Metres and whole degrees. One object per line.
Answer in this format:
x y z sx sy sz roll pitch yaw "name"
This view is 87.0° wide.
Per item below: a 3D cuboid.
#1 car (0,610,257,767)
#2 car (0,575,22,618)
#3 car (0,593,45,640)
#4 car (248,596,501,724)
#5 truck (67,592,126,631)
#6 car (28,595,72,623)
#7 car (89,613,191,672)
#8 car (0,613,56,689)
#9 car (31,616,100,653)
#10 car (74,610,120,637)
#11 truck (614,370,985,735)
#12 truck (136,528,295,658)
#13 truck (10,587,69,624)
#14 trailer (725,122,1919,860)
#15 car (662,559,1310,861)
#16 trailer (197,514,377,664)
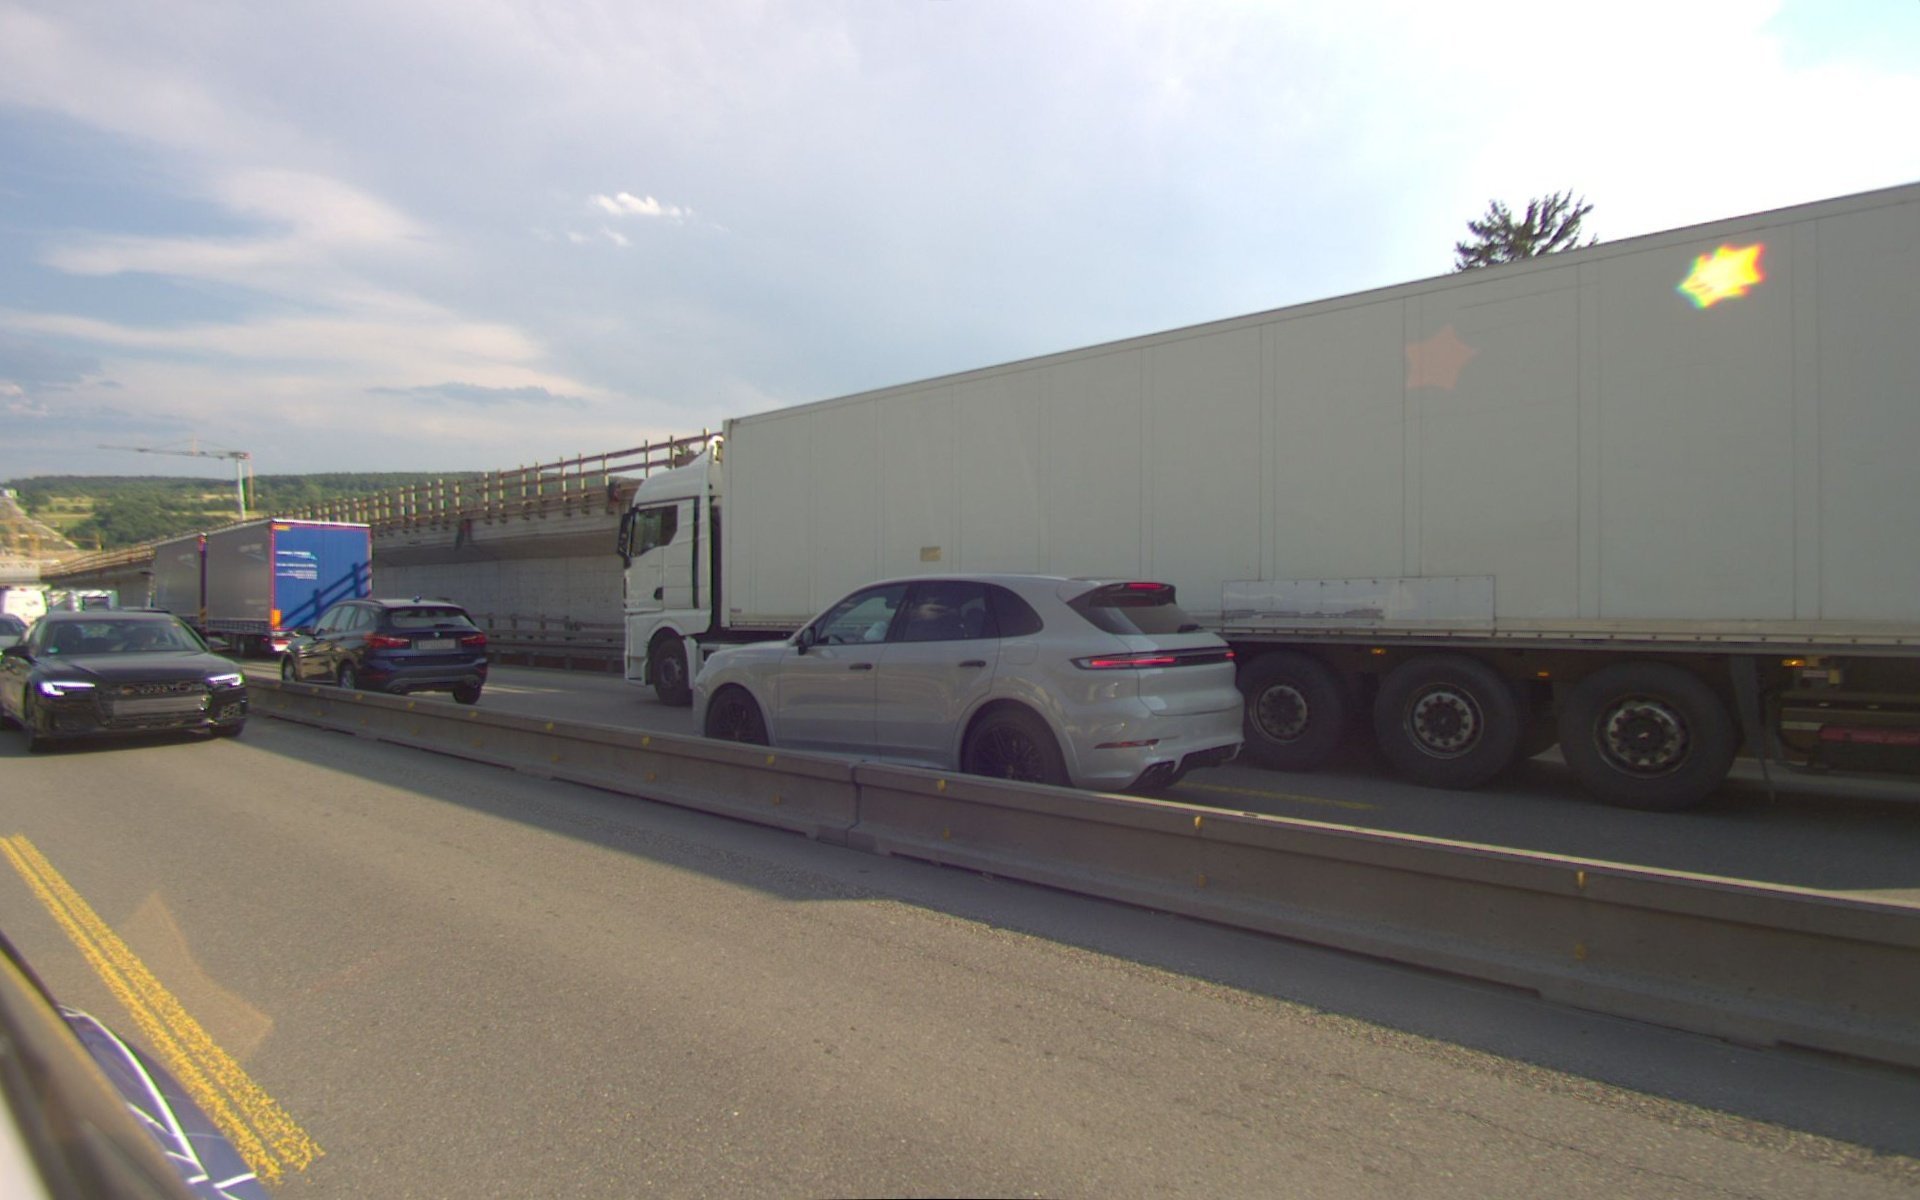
-10.227 0.891 12.106 5.222 1.491 1.919 -1 -2 43 "car"
-124.138 -0.380 131.093 14.304 5.428 3.282 -1 -1 45 "car"
-55.149 0.980 59.141 5.613 2.636 1.974 -1 -2 43 "car"
-9.133 0.797 15.613 4.728 1.618 1.861 0 2 40 "car"
-57.026 0.767 66.815 6.064 2.318 2.250 -1 3 44 "truck"
-72.196 0.679 80.282 3.973 2.037 2.185 -1 3 43 "car"
-23.920 1.169 29.456 4.369 1.588 1.681 -1 -1 42 "car"
-20.753 1.040 21.360 4.113 1.498 1.788 -1 -1 38 "car"
-37.948 1.434 42.912 4.591 1.451 1.723 -1 1 43 "car"
-49.775 1.309 58.369 1.689 1.397 4.003 -5 3 -44 "car"
-2.500 -0.545 14.772 5.471 4.348 2.430 -1 -1 41 "truck"
-28.220 -0.189 38.086 10.579 4.290 2.785 -1 -1 42 "truck"
-82.140 0.519 90.263 6.488 3.169 3.200 -1 -1 42 "truck"
2.763 -0.605 10.136 13.769 4.353 2.430 -1 -1 41 "trailer"
-0.062 0.586 8.001 4.971 1.667 1.988 0 2 40 "car"
-21.253 -0.277 31.721 8.286 4.136 2.785 -1 -1 43 "trailer"
